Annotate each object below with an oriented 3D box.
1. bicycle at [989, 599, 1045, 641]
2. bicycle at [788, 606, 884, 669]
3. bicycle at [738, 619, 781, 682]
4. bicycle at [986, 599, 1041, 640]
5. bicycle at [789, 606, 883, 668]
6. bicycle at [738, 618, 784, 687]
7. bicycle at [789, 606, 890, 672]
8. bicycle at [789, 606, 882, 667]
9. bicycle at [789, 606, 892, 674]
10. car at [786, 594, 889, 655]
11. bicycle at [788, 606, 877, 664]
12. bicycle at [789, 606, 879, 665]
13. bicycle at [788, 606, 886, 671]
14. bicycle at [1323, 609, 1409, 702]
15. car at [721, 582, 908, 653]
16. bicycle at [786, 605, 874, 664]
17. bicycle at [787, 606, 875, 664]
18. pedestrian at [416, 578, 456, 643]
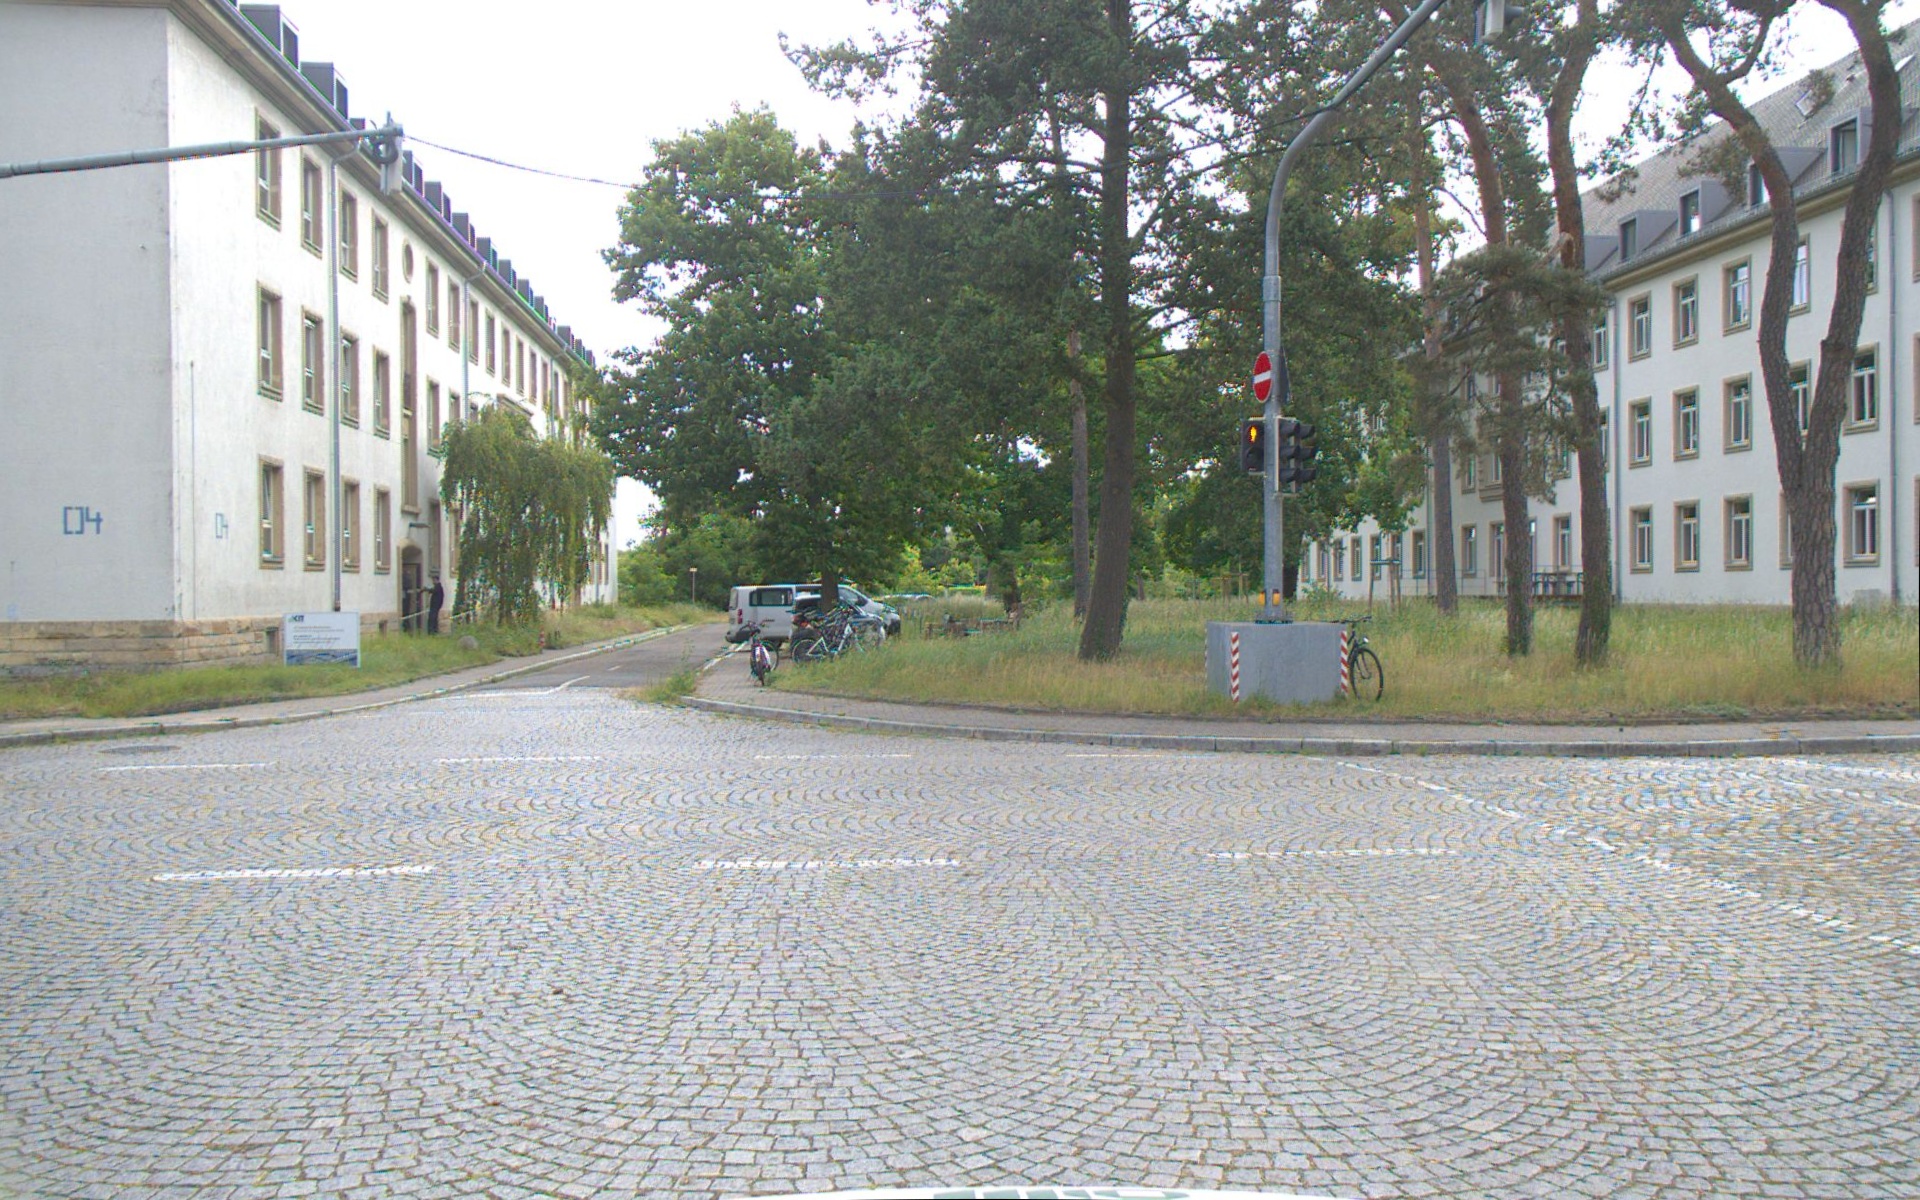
[{"bbox_3d":[1.573,0.549,45.703,1.518,1.144,0.401,-1,0,-4],"label":"bicycle"},{"bbox_3d":[-2.560,0.774,34.119,1.945,1.269,0.623,0,-1,-7],"label":"bicycle"},{"bbox_3d":[-3.641,0.898,30.165,0.609,1.101,1.677,0,0,-1],"label":"bicycle"},{"bbox_3d":[1.526,0.551,46.934,1.518,1.144,0.401,-1,0,-4],"label":"bicycle"},{"bbox_3d":[-2.618,0.777,34.748,1.945,1.269,0.623,0,-1,-7],"label":"bicycle"},{"bbox_3d":[-3.380,0.875,28.229,0.610,1.133,1.988,0,0,-2],"label":"bicycle"},{"bbox_3d":[-2.367,0.767,32.345,1.945,1.269,0.623,0,-1,-7],"label":"bicycle"},{"bbox_3d":[-2.655,0.779,35.272,1.945,1.269,0.623,0,-1,-7],"label":"bicycle"},{"bbox_3d":[-2.305,0.765,31.720,1.945,1.269,0.623,0,-1,-7],"label":"bicycle"},{"bbox_3d":[-3.442,0.660,46.288,2.792,1.585,1.470,-1,1,-6],"label":"car"},{"bbox_3d":[-2.853,0.785,36.850,1.945,1.269,0.623,0,-1,-7],"label":"bicycle"},{"bbox_3d":[-2.779,0.783,36.342,1.945,1.269,0.623,0,-1,-7],"label":"bicycle"},{"bbox_3d":[-2.474,0.771,33.265,1.945,1.269,0.623,0,-1,-7],"label":"bicycle"},{"bbox_3d":[4.871,0.642,19.944,0.569,0.987,1.677,-2,2,-1],"label":"bicycle"},{"bbox_3d":[-4.378,0.487,49.687,5.226,1.949,2.137,-1,0,-20],"label":"car"},{"bbox_3d":[-2.985,0.789,37.995,1.945,1.269,0.623,-2,0,-7],"label":"bicycle"},{"bbox_3d":[-2.918,0.787,37.340,1.945,1.269,0.623,0,-1,-7],"label":"bicycle"},{"bbox_3d":[-14.732,0.286,46.500,0.820,1.812,0.941,-1,0,0],"label":"pedestrian"}]
